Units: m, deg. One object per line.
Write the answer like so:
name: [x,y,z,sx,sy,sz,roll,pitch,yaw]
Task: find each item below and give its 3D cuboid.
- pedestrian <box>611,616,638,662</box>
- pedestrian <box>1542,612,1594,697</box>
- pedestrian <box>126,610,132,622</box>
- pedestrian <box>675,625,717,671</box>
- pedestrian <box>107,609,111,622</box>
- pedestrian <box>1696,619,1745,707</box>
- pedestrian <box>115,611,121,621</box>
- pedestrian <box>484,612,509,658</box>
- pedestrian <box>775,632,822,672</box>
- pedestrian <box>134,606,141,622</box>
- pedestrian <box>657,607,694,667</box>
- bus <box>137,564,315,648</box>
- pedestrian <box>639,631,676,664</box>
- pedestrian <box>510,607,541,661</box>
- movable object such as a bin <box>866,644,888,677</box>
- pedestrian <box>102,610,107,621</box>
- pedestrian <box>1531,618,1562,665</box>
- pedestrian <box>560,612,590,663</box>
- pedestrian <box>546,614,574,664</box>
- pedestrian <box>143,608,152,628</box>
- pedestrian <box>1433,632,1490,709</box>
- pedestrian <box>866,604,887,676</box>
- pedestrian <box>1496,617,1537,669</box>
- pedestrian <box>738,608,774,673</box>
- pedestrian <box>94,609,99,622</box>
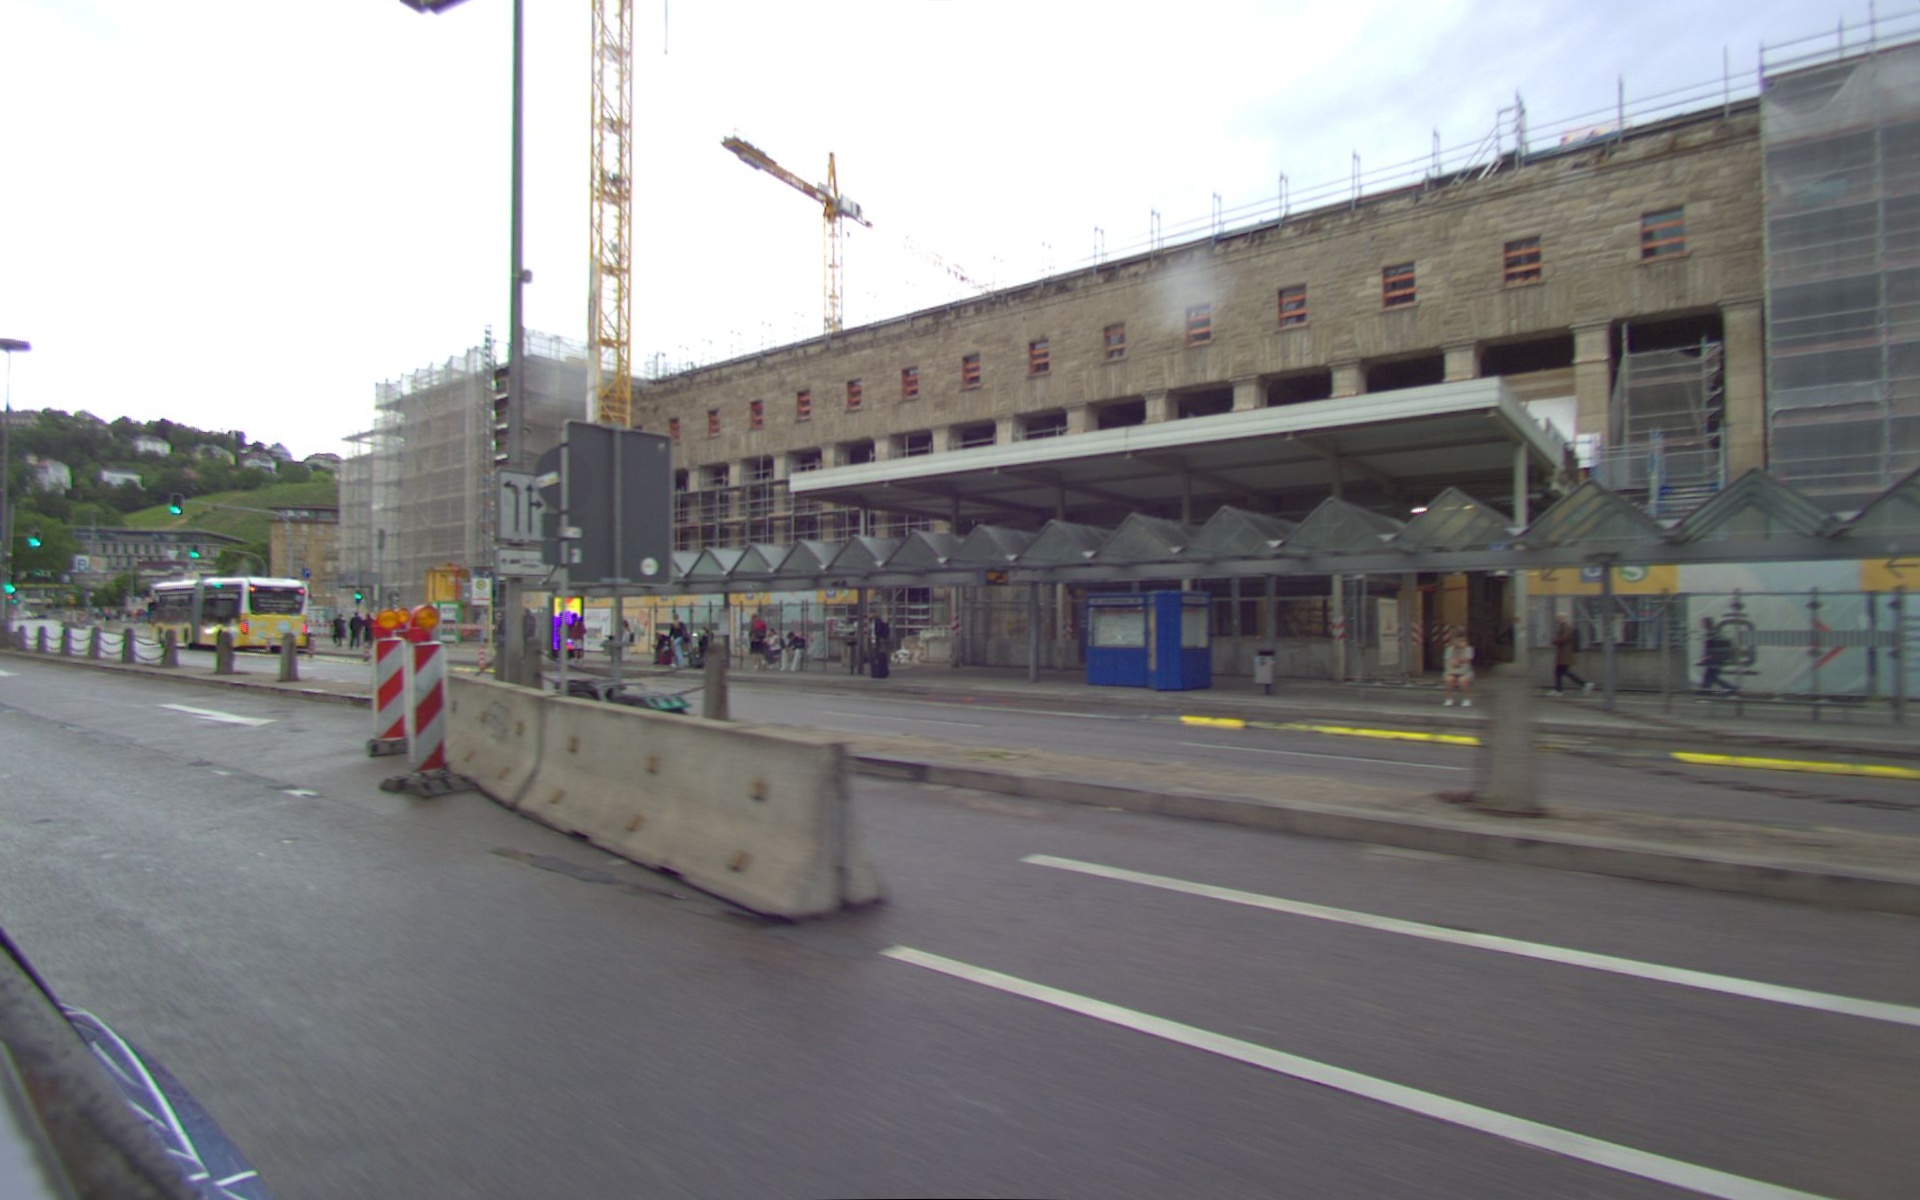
pedestrian: [-12.256,1.420,36.976,0.802,1.642,0.552,-1,-1,30]
pedestrian: [12.632,1.112,21.025,0.835,1.713,0.870,-1,-1,37]
pedestrian: [-94.961,1.774,115.646,0.432,1.362,0.414,0,-1,-41]
pedestrian: [-8.651,1.564,33.143,0.829,1.443,1.045,-1,-1,37]
pedestrian: [-101.796,1.839,121.066,0.357,1.628,0.370,-1,-1,39]
pedestrian: [14.540,1.180,19.364,0.700,1.620,0.795,-1,-1,37]
pedestrian: [-101.243,1.953,121.670,0.413,1.250,0.433,-1,-1,42]
pedestrian: [-18.301,1.365,39.963,0.690,1.804,0.795,0,-1,-40]
pedestrian: [-4.831,1.541,30.284,1.053,1.167,0.940,-1,-1,38]
pedestrian: [-84.378,1.476,103.825,0.413,1.628,0.433,-1,-1,39]
pedestrian: [-8.666,1.104,30.790,0.766,1.804,0.861,1,-1,-45]
bus: [-37.190,0.394,50.642,19.066,3.605,2.879,-1,-2,41]
pedestrian: [-10.271,1.603,34.340,0.924,1.101,0.836,-1,-1,37]
pedestrian: [-16.043,1.228,37.381,0.821,1.973,0.752,-1,-1,36]
movable object such as a bin: [-2.125,1.541,25.845,0.503,0.795,0.635,1,-2,-7]
pedestrian: [-112.285,2.025,132.869,0.432,1.512,0.414,0,-1,-37]
pedestrian: [20.661,1.449,35.653,0.831,1.595,0.889,-1,-2,36]
pedestrian: [-13.630,1.313,35.841,0.745,1.804,0.718,-1,-1,32]
pedestrian: [-14.643,1.402,37.045,0.802,1.804,0.552,-1,-1,30]
pedestrian: [-84.611,1.850,105.358,0.685,2.049,0.586,-1,-1,40]
pedestrian: [9.157,1.267,18.474,0.804,1.336,0.693,-1,-1,37]
pedestrian: [-2.191,1.047,26.508,0.549,1.862,0.679,0,-1,-6]
pedestrian: [18.798,1.435,34.198,1.027,1.708,1.018,-1,-2,39]
pedestrian: [-5.832,1.147,28.902,0.780,1.804,0.665,-1,-1,31]
pedestrian: [-109.961,1.947,128.835,0.413,1.628,0.433,-1,-1,40]
